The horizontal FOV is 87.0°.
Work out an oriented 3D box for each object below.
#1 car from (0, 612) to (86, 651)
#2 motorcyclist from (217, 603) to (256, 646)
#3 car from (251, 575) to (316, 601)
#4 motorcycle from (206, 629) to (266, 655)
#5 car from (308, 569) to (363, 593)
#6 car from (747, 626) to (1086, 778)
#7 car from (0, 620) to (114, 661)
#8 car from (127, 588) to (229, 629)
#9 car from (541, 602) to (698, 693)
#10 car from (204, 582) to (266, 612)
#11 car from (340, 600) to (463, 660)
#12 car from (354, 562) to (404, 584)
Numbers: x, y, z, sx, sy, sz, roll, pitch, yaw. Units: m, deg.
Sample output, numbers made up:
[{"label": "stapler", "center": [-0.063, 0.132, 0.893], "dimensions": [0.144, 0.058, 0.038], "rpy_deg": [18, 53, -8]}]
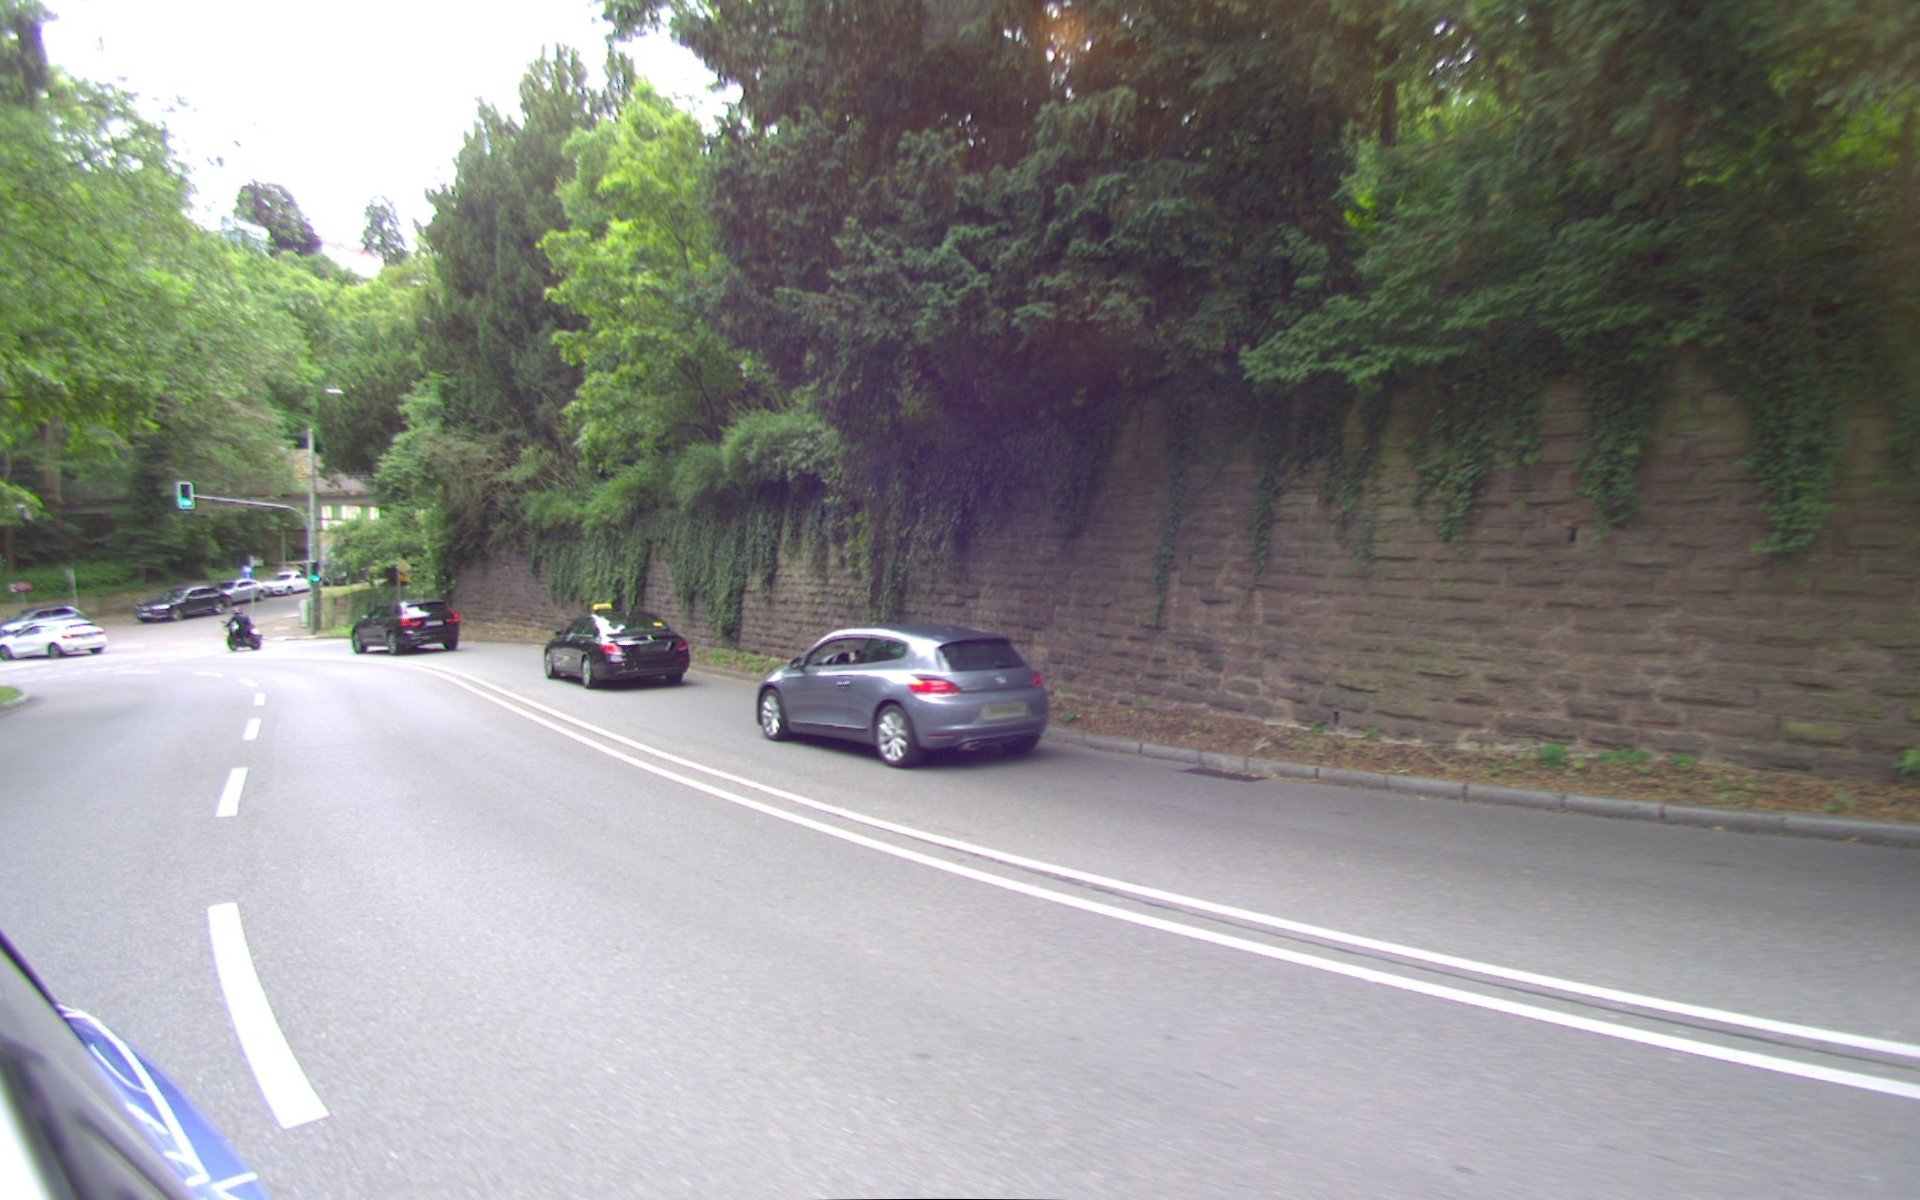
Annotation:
[{"label": "car", "center": [-44.757, 1.497, 48.466], "dimensions": [1.740, 1.367, 3.978], "rpy_deg": [0, 7, 19]}, {"label": "motorcyclist", "center": [-26.871, 0.906, 37.576], "dimensions": [1.090, 1.541, 0.742], "rpy_deg": [-1, 1, 28]}, {"label": "car", "center": [-45.841, -0.832, 68.669], "dimensions": [1.606, 1.338, 4.025], "rpy_deg": [1, 7, 0]}, {"label": "motorcycle", "center": [-26.914, 1.558, 37.615], "dimensions": [2.418, 0.896, 0.803], "rpy_deg": [-1, 1, 28]}, {"label": "car", "center": [-45.735, -1.409, 74.214], "dimensions": [1.580, 1.338, 3.914], "rpy_deg": [0, 7, 1]}, {"label": "car", "center": [-0.652, 0.973, 11.257], "dimensions": [1.748, 1.349, 3.967], "rpy_deg": [0, -1, -39]}, {"label": "car", "center": [-37.314, 1.664, 41.409], "dimensions": [4.282, 1.426, 1.747], "rpy_deg": [-2, 3, 11]}, {"label": "car", "center": [-43.200, 0.452, 56.069], "dimensions": [1.785, 1.696, 4.540], "rpy_deg": [-2, 6, 5]}, {"label": "car", "center": [-6.981, 0.876, 20.400], "dimensions": [1.837, 1.609, 4.642], "rpy_deg": [0, -1, -34]}, {"label": "car", "center": [-45.499, -0.222, 63.575], "dimensions": [1.484, 1.457, 3.268], "rpy_deg": [0, 7, -1]}, {"label": "car", "center": [-17.782, 0.925, 32.149], "dimensions": [4.507, 1.661, 1.832], "rpy_deg": [-1, 3, 40]}, {"label": "car", "center": [-45.544, -2.124, 79.365], "dimensions": [1.580, 1.338, 3.914], "rpy_deg": [0, 7, 1]}]
